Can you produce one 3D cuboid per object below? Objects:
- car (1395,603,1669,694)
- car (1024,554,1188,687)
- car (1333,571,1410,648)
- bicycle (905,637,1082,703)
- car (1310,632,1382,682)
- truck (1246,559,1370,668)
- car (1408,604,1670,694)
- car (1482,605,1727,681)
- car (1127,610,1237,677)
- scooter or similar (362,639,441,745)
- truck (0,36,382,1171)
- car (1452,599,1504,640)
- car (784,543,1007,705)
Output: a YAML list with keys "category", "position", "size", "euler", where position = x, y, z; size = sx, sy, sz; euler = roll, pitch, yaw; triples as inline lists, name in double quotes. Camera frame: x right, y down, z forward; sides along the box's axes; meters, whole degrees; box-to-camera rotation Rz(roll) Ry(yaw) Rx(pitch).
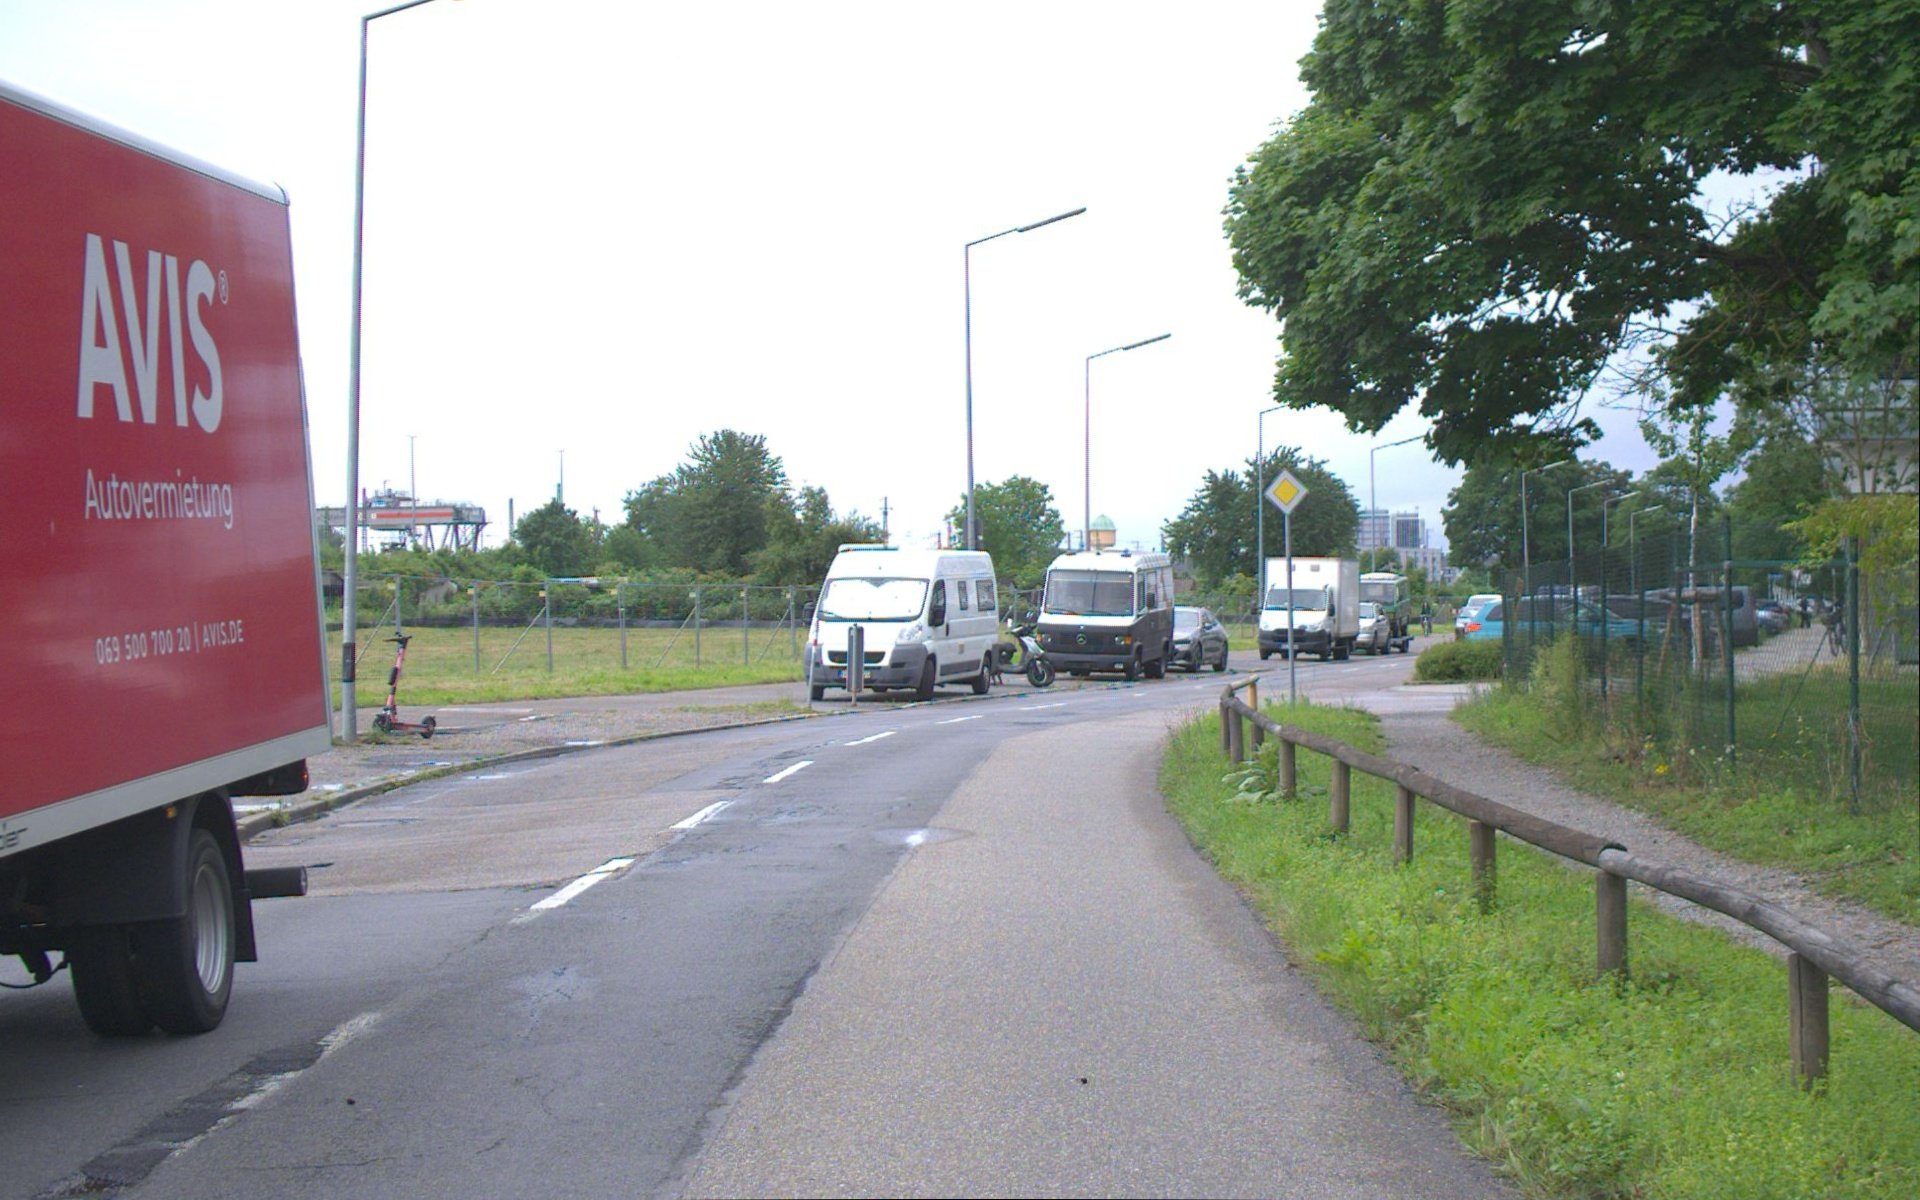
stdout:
- category: "car"
  position: [10.591, 0.882, 63.589]
  size: [4.864, 1.610, 1.841]
  euler: [0, 0, 14]
- category: "car"
  position: [3.186, 0.387, 73.561]
  size: [2.302, 2.725, 6.087]
  euler: [0, 1, 14]
- category: "car"
  position: [14.015, 0.320, 116.944]
  size: [2.006, 2.565, 4.783]
  euler: [0, 0, 14]
- category: "bicycle"
  position: [0.645, 1.325, 65.314]
  size: [3.122, 1.195, 1.364]
  euler: [0, 0, 14]
- category: "car"
  position: [12.308, 1.795, 109.439]
  size: [1.756, 1.520, 3.997]
  euler: [0, 0, 14]
- category: "truck"
  position: [10.211, 0.367, 100.138]
  size: [2.463, 3.050, 8.157]
  euler: [0, 0, 14]
- category: "car"
  position: [11.175, 0.919, 66.289]
  size: [4.864, 1.657, 1.841]
  euler: [0, 0, 14]
- category: "car"
  position: [13.291, 0.869, 70.815]
  size: [4.864, 1.495, 1.841]
  euler: [0, 0, 14]
- category: "car"
  position: [5.197, 0.995, 80.083]
  size: [1.781, 1.499, 3.997]
  euler: [0, 0, 16]
- category: "scooter or similar"
  position: [-6.503, 1.059, 40.082]
  size: [0.608, 1.179, 1.702]
  euler: [2, 0, 0]
- category: "truck"
  position: [-3.715, 0.026, 10.326]
  size: [2.341, 3.052, 7.496]
  euler: [-3, 0, 2]
- category: "car"
  position: [21.631, 0.799, 143.513]
  size: [1.650, 1.657, 3.573]
  euler: [0, 1, 17]
- category: "car"
  position: [-0.981, 0.374, 57.403]
  size: [2.290, 2.547, 6.406]
  euler: [0, 0, 12]
